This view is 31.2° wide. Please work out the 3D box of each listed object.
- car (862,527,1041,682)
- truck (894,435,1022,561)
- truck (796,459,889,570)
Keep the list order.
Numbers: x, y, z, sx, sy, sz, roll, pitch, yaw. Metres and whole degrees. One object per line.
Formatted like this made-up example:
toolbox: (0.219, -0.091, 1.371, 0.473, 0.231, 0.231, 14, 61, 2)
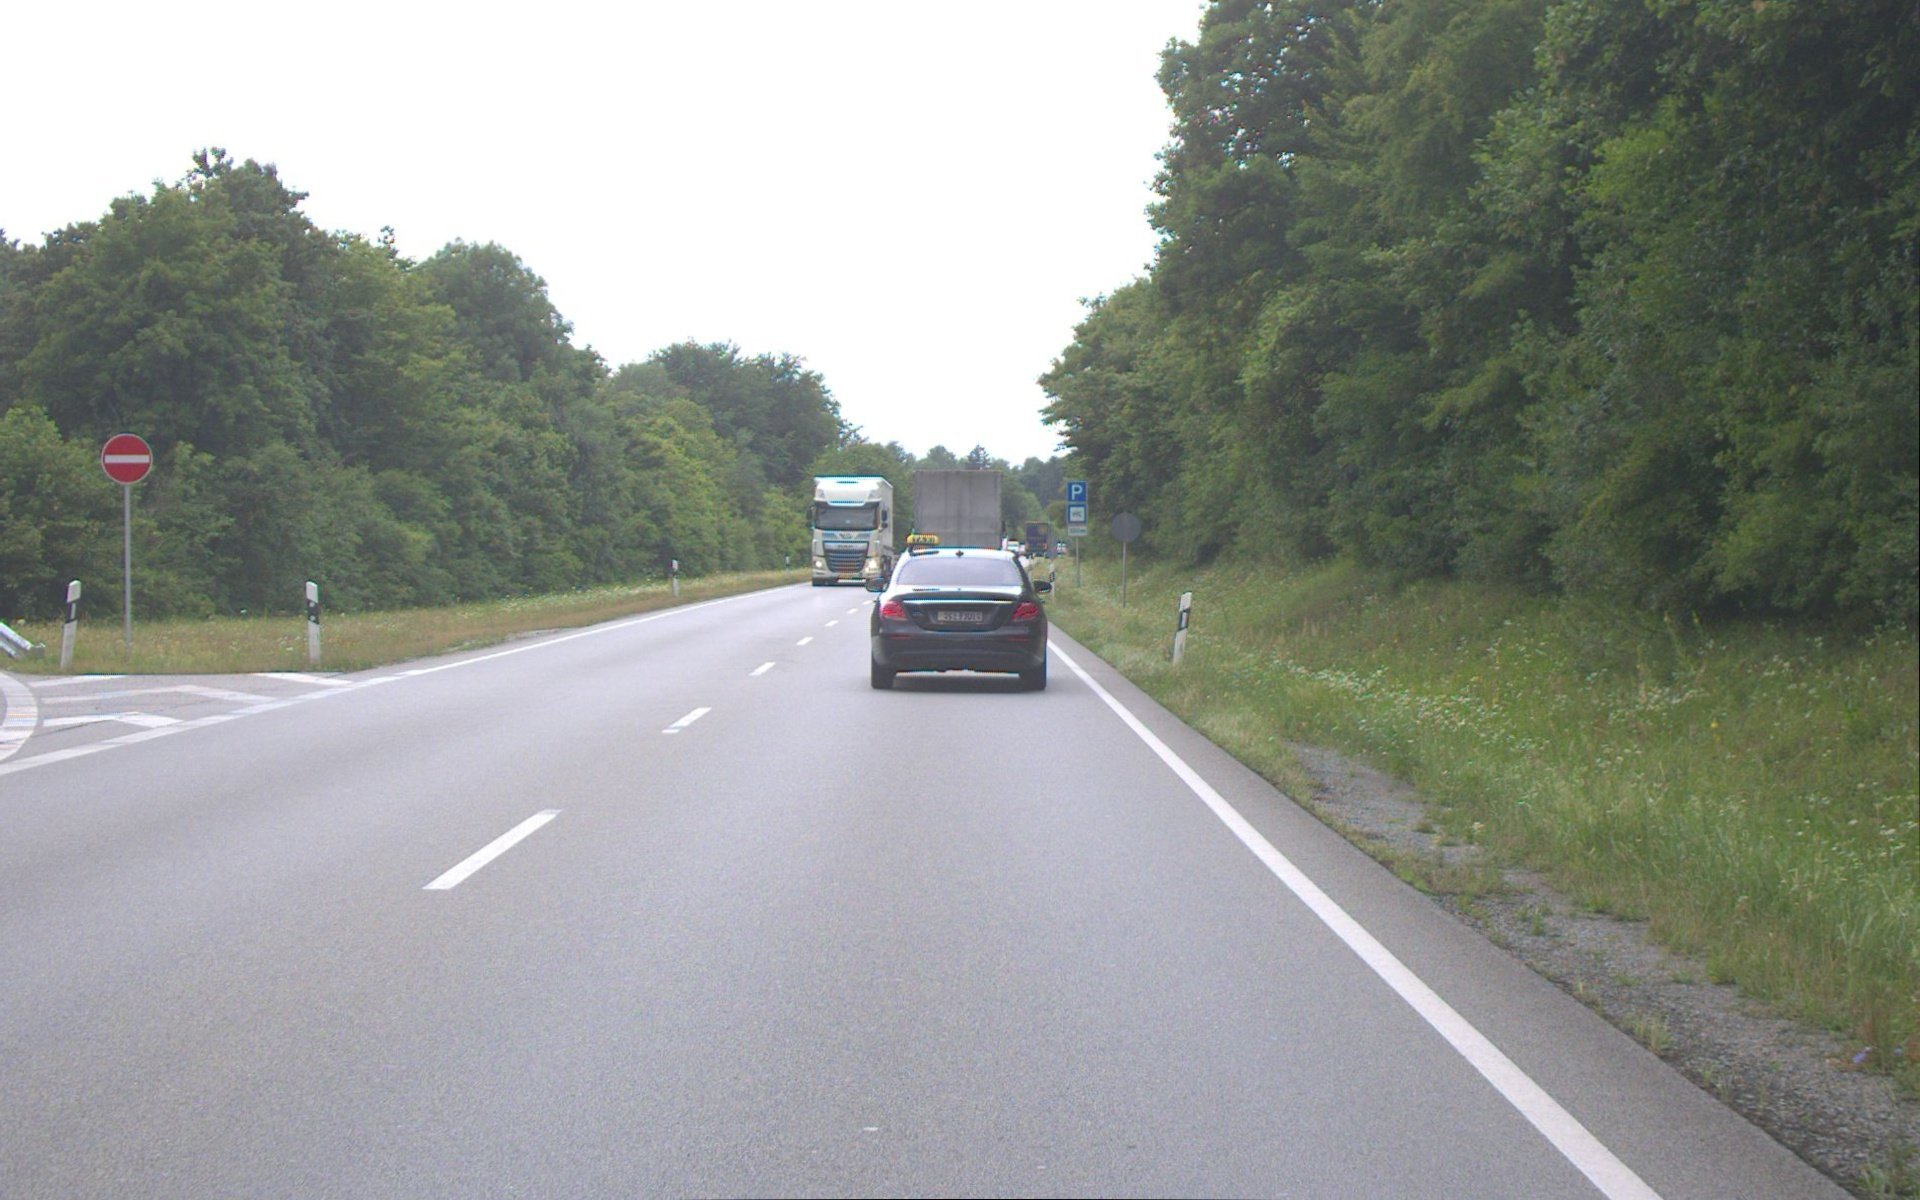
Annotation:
car: (-0.127, 0.010, 36.846, 1.791, 1.546, 4.000, 1, 1, -1)
truck: (0.044, -3.026, 104.895, 3.281, 3.599, 11.399, 1, 1, 3)
truck: (-4.415, -3.228, 131.230, 3.189, 4.048, 9.576, 1, 1, 0)
